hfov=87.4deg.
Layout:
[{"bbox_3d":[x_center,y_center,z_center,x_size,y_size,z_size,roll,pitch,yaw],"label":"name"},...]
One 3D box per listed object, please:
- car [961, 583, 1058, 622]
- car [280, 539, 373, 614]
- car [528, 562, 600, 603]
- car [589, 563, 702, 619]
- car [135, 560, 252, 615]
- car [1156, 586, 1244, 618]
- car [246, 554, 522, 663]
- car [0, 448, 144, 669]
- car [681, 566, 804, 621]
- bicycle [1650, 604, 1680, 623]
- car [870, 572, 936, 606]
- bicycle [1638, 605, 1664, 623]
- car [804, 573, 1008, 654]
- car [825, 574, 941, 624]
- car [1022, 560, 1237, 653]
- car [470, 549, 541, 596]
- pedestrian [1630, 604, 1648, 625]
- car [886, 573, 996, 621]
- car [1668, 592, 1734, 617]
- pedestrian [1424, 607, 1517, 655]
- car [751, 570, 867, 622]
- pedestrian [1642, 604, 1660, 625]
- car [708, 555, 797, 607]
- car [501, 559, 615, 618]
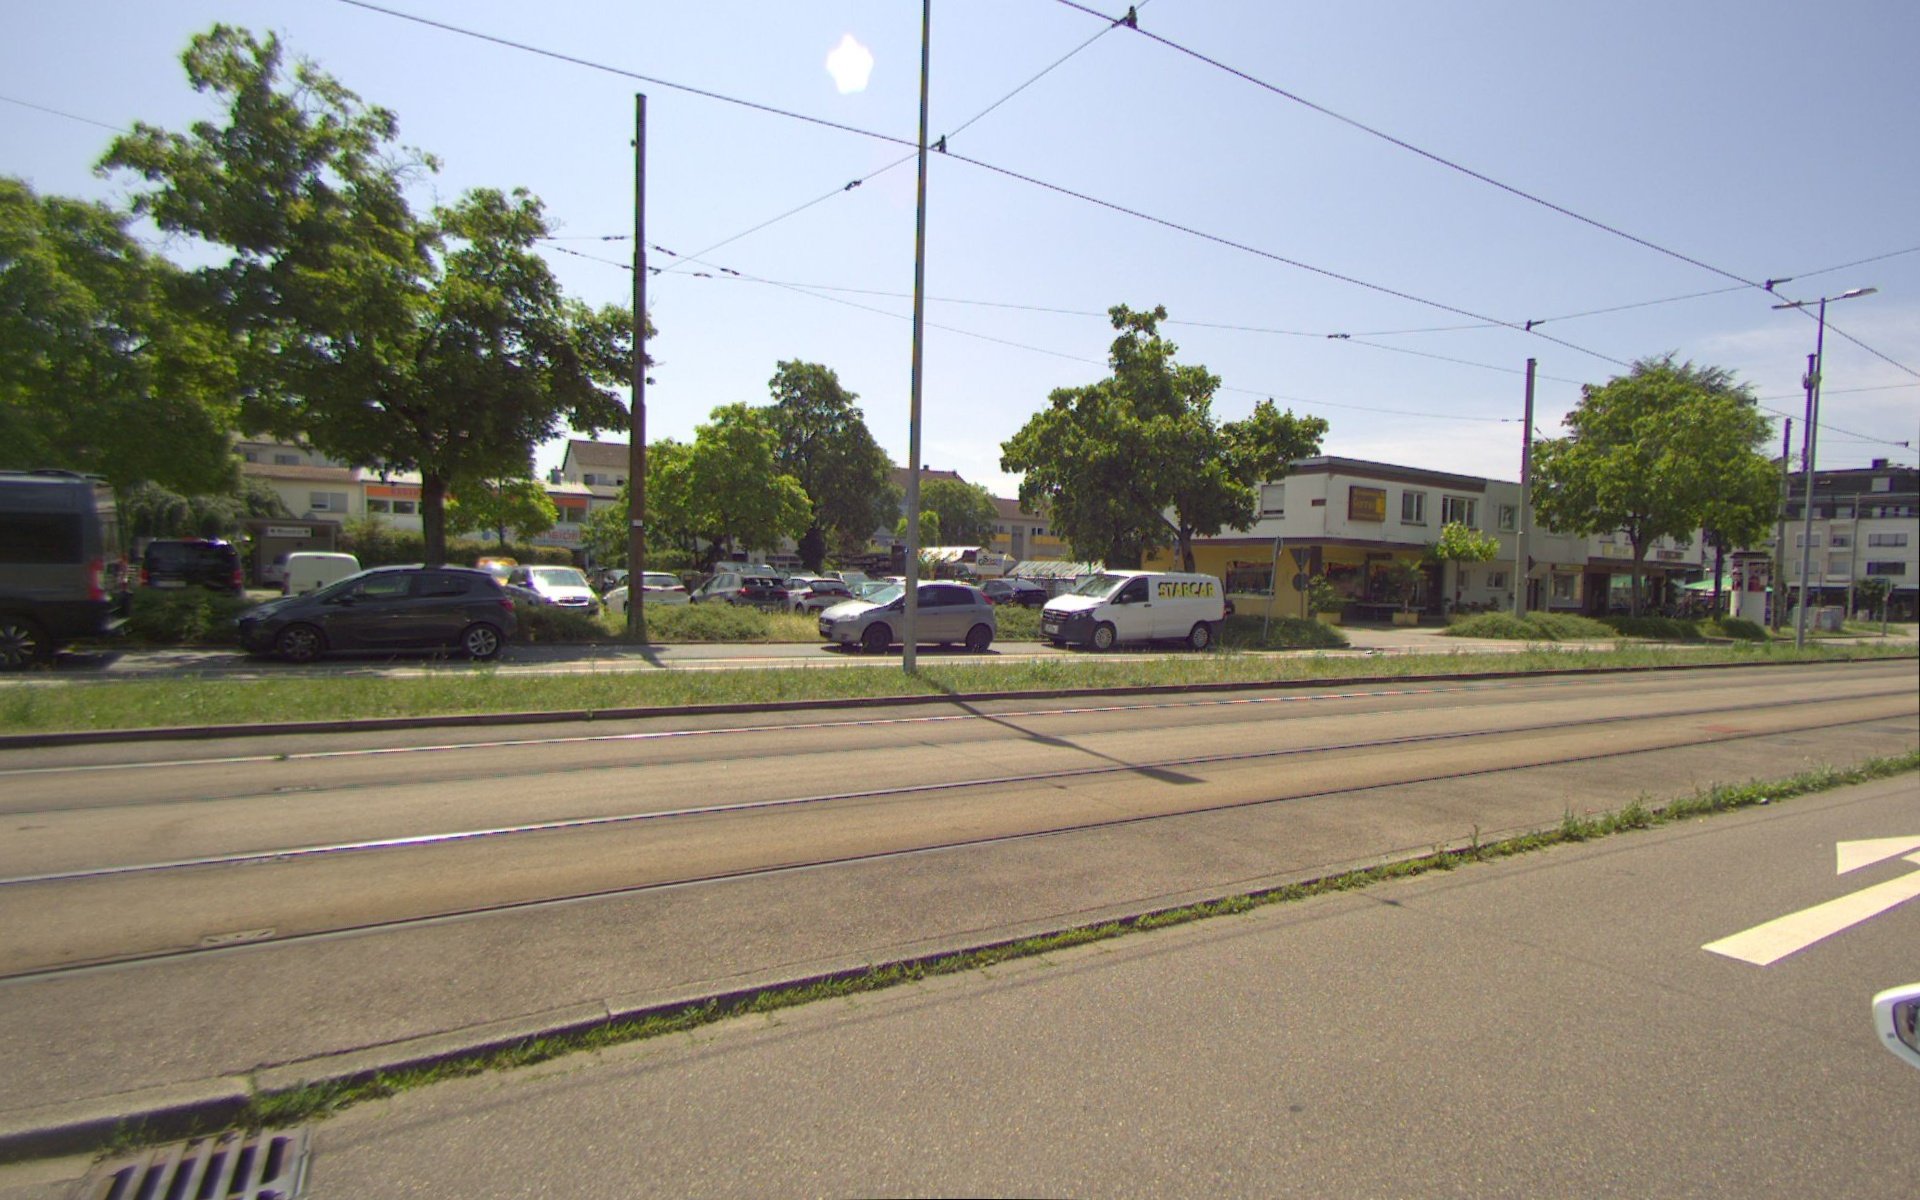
[{"bbox_3d":[1.710,0.074,35.865,1.629,1.248,3.386,1,1,-38],"label":"car"},{"bbox_3d":[-16.136,-0.594,25.505,1.780,1.741,3.960,1,1,-35],"label":"car"},{"bbox_3d":[-16.009,-0.684,40.540,1.700,1.514,3.957,2,0,-37],"label":"car"},{"bbox_3d":[-9.187,-0.287,29.138,1.816,1.509,4.031,1,1,-38],"label":"car"},{"bbox_3d":[-17.889,-0.323,23.619,2.013,1.159,4.220,1,1,-35],"label":"car"},{"bbox_3d":[10.954,0.077,46.074,1.662,1.314,3.968,0,2,-29],"label":"car"},{"bbox_3d":[-9.362,0.167,16.534,3.710,1.598,1.960,2,0,-31],"label":"car"},{"bbox_3d":[-14.479,-0.595,13.114,5.604,2.876,2.226,2,0,-32],"label":"car"},{"bbox_3d":[-6.617,-0.213,30.303,2.006,1.509,4.117,1,1,-38],"label":"car"},{"bbox_3d":[38.536,0.760,54.907,2.007,0.992,0.607,2,0,-32],"label":"bicycle"},{"bbox_3d":[-2.819,-0.526,48.769,1.641,1.540,3.969,2,0,-29],"label":"car"},{"bbox_3d":[39.015,0.779,56.701,1.739,0.992,0.535,2,0,-32],"label":"bicycle"},{"bbox_3d":[-1.138,0.295,21.711,4.079,1.523,1.641,1,4,-32],"label":"car"},{"bbox_3d":[-2.575,-0.036,32.919,1.896,1.509,3.996,2,0,-38],"label":"car"},{"bbox_3d":[4.308,0.169,25.177,5.284,2.038,1.865,1,4,-32],"label":"car"},{"bbox_3d":[-17.639,-1.056,38.892,1.677,1.675,4.086,1,1,-37],"label":"car"},{"bbox_3d":[41.154,0.872,60.891,0.833,1.285,0.586,2,0,-32],"label":"pedestrian"},{"bbox_3d":[-0.728,-0.127,34.982,1.963,1.509,4.137,1,1,-33],"label":"car"},{"bbox_3d":[76.621,0.439,103.890,2.221,2.372,5.035,2,0,-33],"label":"car"},{"bbox_3d":[22.945,1.380,45.157,3.957,2.040,1.982,2,0,-33],"label":"pedestrian"},{"bbox_3d":[-4.883,-0.139,32.035,1.844,1.509,4.101,2,0,-38],"label":"car"},{"bbox_3d":[41.520,0.871,60.360,0.833,1.285,0.586,2,0,-32],"label":"pedestrian"},{"bbox_3d":[-9.149,-0.798,43.993,2.201,2.097,5.081,2,0,-31],"label":"car"},{"bbox_3d":[-11.072,-0.342,27.497,1.851,1.508,3.955,1,1,-38],"label":"car"}]
